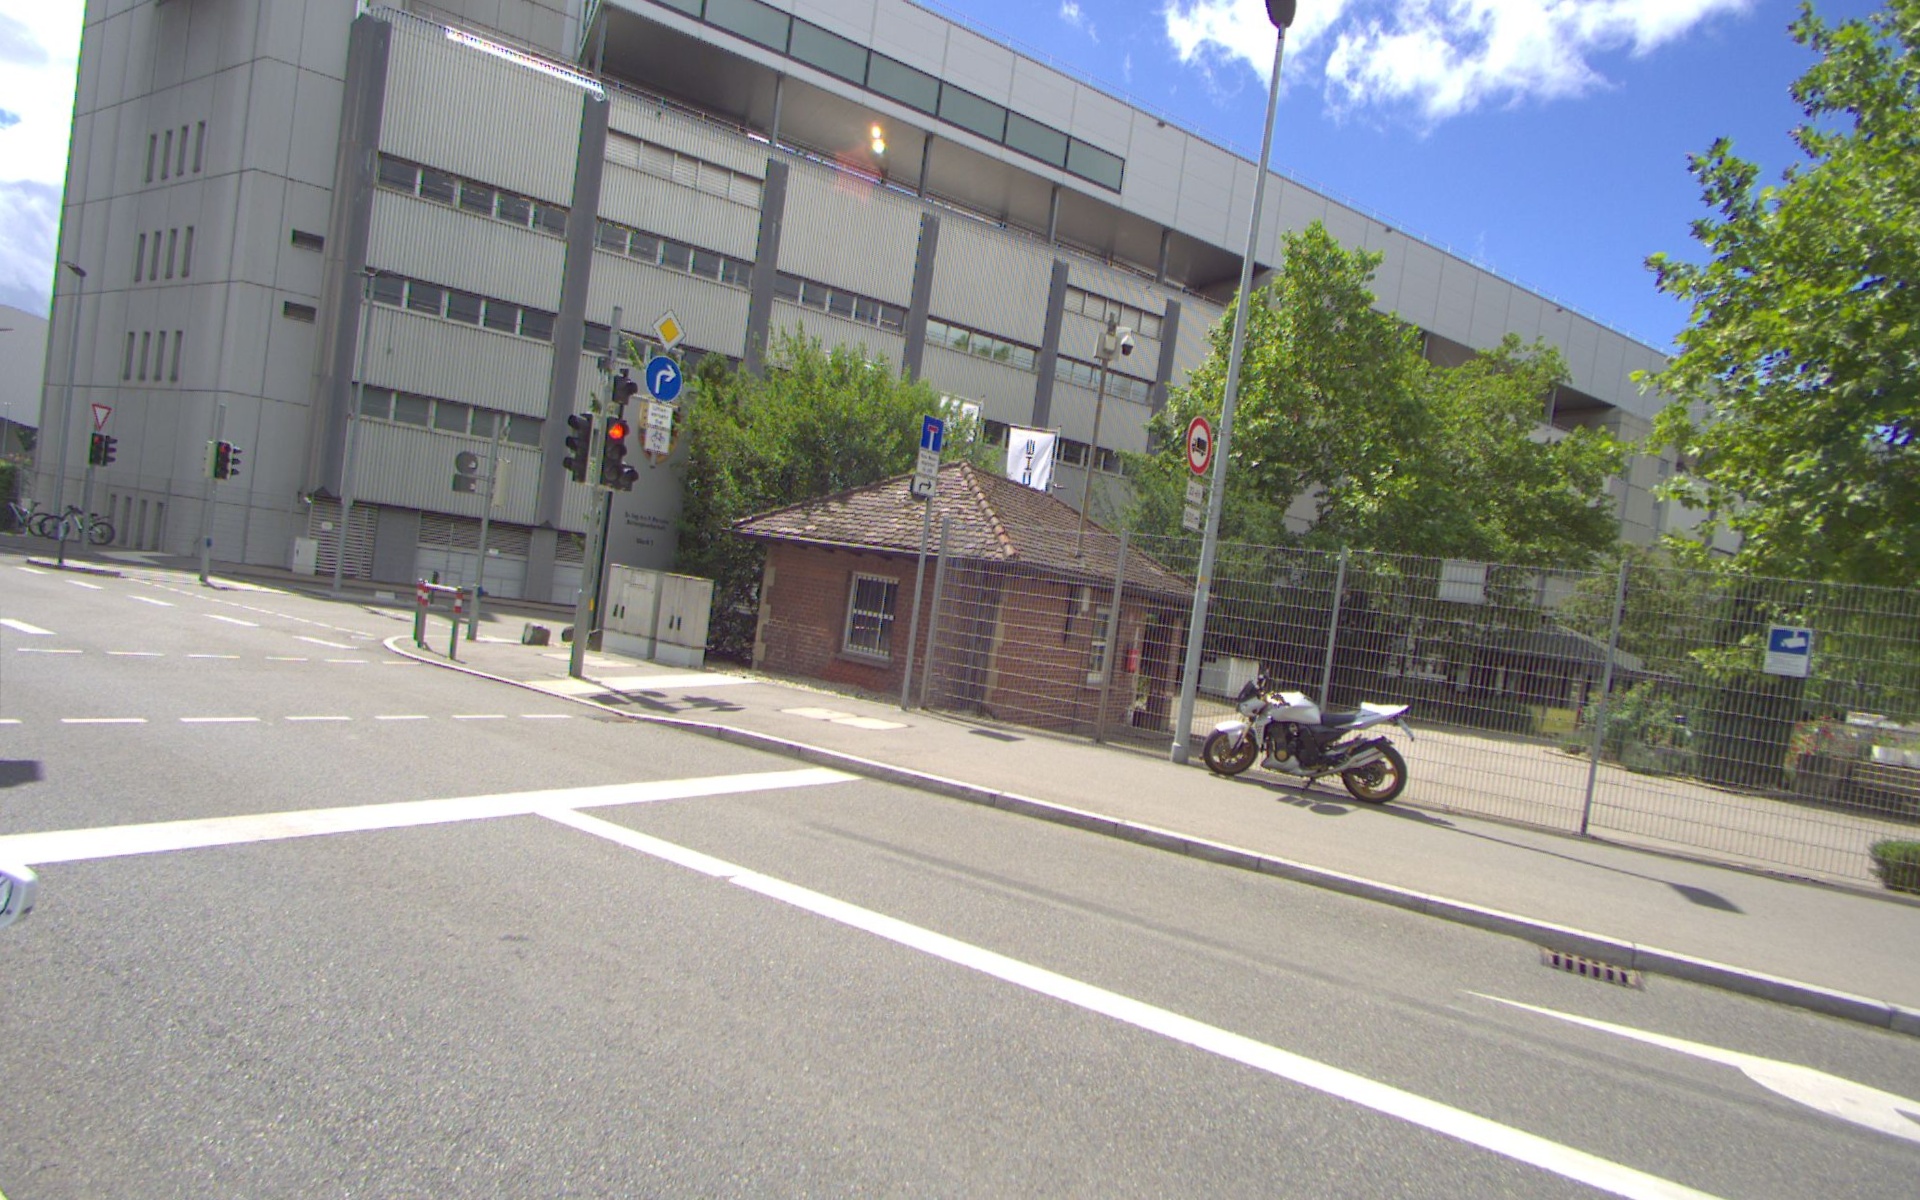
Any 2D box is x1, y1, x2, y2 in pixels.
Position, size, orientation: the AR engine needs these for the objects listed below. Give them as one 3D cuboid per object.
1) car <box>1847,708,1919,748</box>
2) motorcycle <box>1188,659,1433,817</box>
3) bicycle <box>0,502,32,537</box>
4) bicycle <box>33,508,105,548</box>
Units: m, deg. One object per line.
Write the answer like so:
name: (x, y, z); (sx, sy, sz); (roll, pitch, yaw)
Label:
car: (53.057, 7.301, 56.785); (1.979, 1.803, 3.971); (8, -2, -30)
motorcycle: (3.458, 1.311, 9.989); (2.110, 1.173, 0.693); (7, 2, 27)
bicycle: (-29.672, -2.535, 31.076); (1.891, 0.948, 0.399); (7, 0, 13)
bicycle: (-27.248, -2.200, 30.761); (1.892, 0.948, 0.399); (7, 0, 6)
